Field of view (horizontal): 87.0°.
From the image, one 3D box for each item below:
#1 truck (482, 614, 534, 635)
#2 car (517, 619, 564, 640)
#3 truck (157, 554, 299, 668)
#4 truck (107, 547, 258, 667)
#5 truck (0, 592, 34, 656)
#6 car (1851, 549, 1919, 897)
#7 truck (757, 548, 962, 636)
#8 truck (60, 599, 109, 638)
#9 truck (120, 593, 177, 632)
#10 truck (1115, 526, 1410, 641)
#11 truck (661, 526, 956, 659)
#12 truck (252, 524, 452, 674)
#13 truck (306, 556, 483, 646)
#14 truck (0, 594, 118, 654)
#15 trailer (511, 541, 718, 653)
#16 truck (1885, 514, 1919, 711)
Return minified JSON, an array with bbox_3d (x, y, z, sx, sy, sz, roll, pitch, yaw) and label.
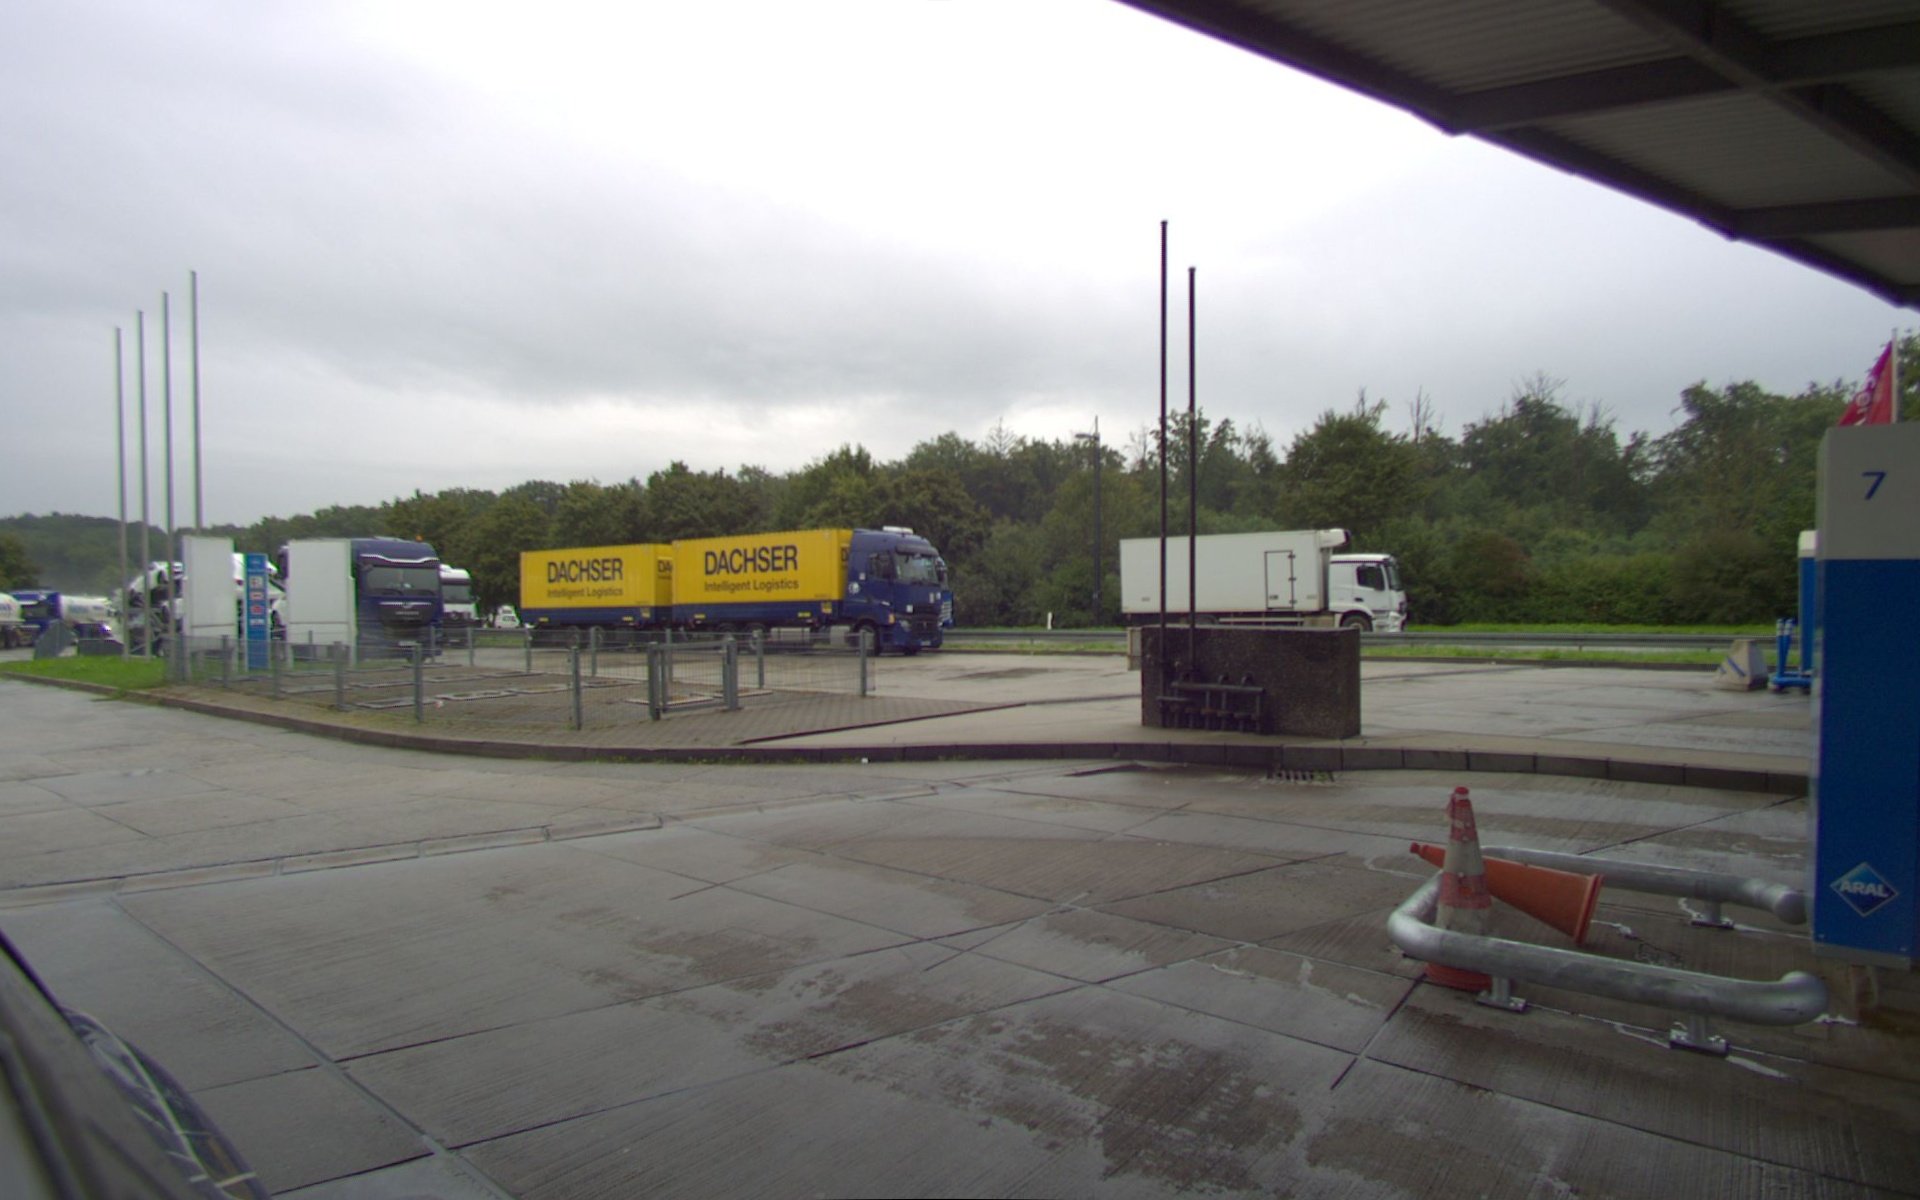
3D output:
[{"bbox_3d":[-47.961,2.596,107.356,5.810,2.140,2.061,-1,0,31],"label":"truck"},{"bbox_3d":[-38.518,2.707,92.933,4.355,1.904,1.712,-1,0,30],"label":"car"},{"bbox_3d":[-26.118,0.394,36.085,4.738,3.800,2.635,-1,0,34],"label":"truck"},{"bbox_3d":[-29.599,0.298,38.458,6.605,4.213,2.635,-1,0,35],"label":"truck"},{"bbox_3d":[-55.167,1.336,53.699,3.454,3.633,14.444,-1,-1,-19],"label":"truck"},{"bbox_3d":[6.900,0.543,3.812,5.269,1.620,1.842,-1,0,41],"label":"car"},{"bbox_3d":[-4.890,-0.312,47.655,10.195,3.836,2.395,-1,0,31],"label":"truck"},{"bbox_3d":[-97.566,1.993,112.664,11.525,4.160,3.101,-1,0,44],"label":"truck"},{"bbox_3d":[-111.184,1.663,138.617,11.498,5.160,3.109,-1,0,36],"label":"truck"},{"bbox_3d":[10.959,-0.515,37.461,10.195,3.836,2.395,-1,0,31],"label":"truck"},{"bbox_3d":[-5.348,-0.177,34.040,10.654,3.946,2.727,-1,0,33],"label":"truck"},{"bbox_3d":[-19.020,0.011,31.489,7.089,4.213,2.635,-1,0,35],"label":"truck"},{"bbox_3d":[-27.330,0.104,48.639,10.654,3.946,2.727,-1,0,33],"label":"truck"},{"bbox_3d":[-61.506,1.620,68.666,3.454,3.633,14.709,-1,-1,-27],"label":"truck"},{"bbox_3d":[-13.510,-0.073,39.270,8.679,3.946,2.728,-1,0,32],"label":"trailer"},{"bbox_3d":[14.983,0.126,11.966,5.859,2.513,2.208,-1,0,41],"label":"truck"}]
